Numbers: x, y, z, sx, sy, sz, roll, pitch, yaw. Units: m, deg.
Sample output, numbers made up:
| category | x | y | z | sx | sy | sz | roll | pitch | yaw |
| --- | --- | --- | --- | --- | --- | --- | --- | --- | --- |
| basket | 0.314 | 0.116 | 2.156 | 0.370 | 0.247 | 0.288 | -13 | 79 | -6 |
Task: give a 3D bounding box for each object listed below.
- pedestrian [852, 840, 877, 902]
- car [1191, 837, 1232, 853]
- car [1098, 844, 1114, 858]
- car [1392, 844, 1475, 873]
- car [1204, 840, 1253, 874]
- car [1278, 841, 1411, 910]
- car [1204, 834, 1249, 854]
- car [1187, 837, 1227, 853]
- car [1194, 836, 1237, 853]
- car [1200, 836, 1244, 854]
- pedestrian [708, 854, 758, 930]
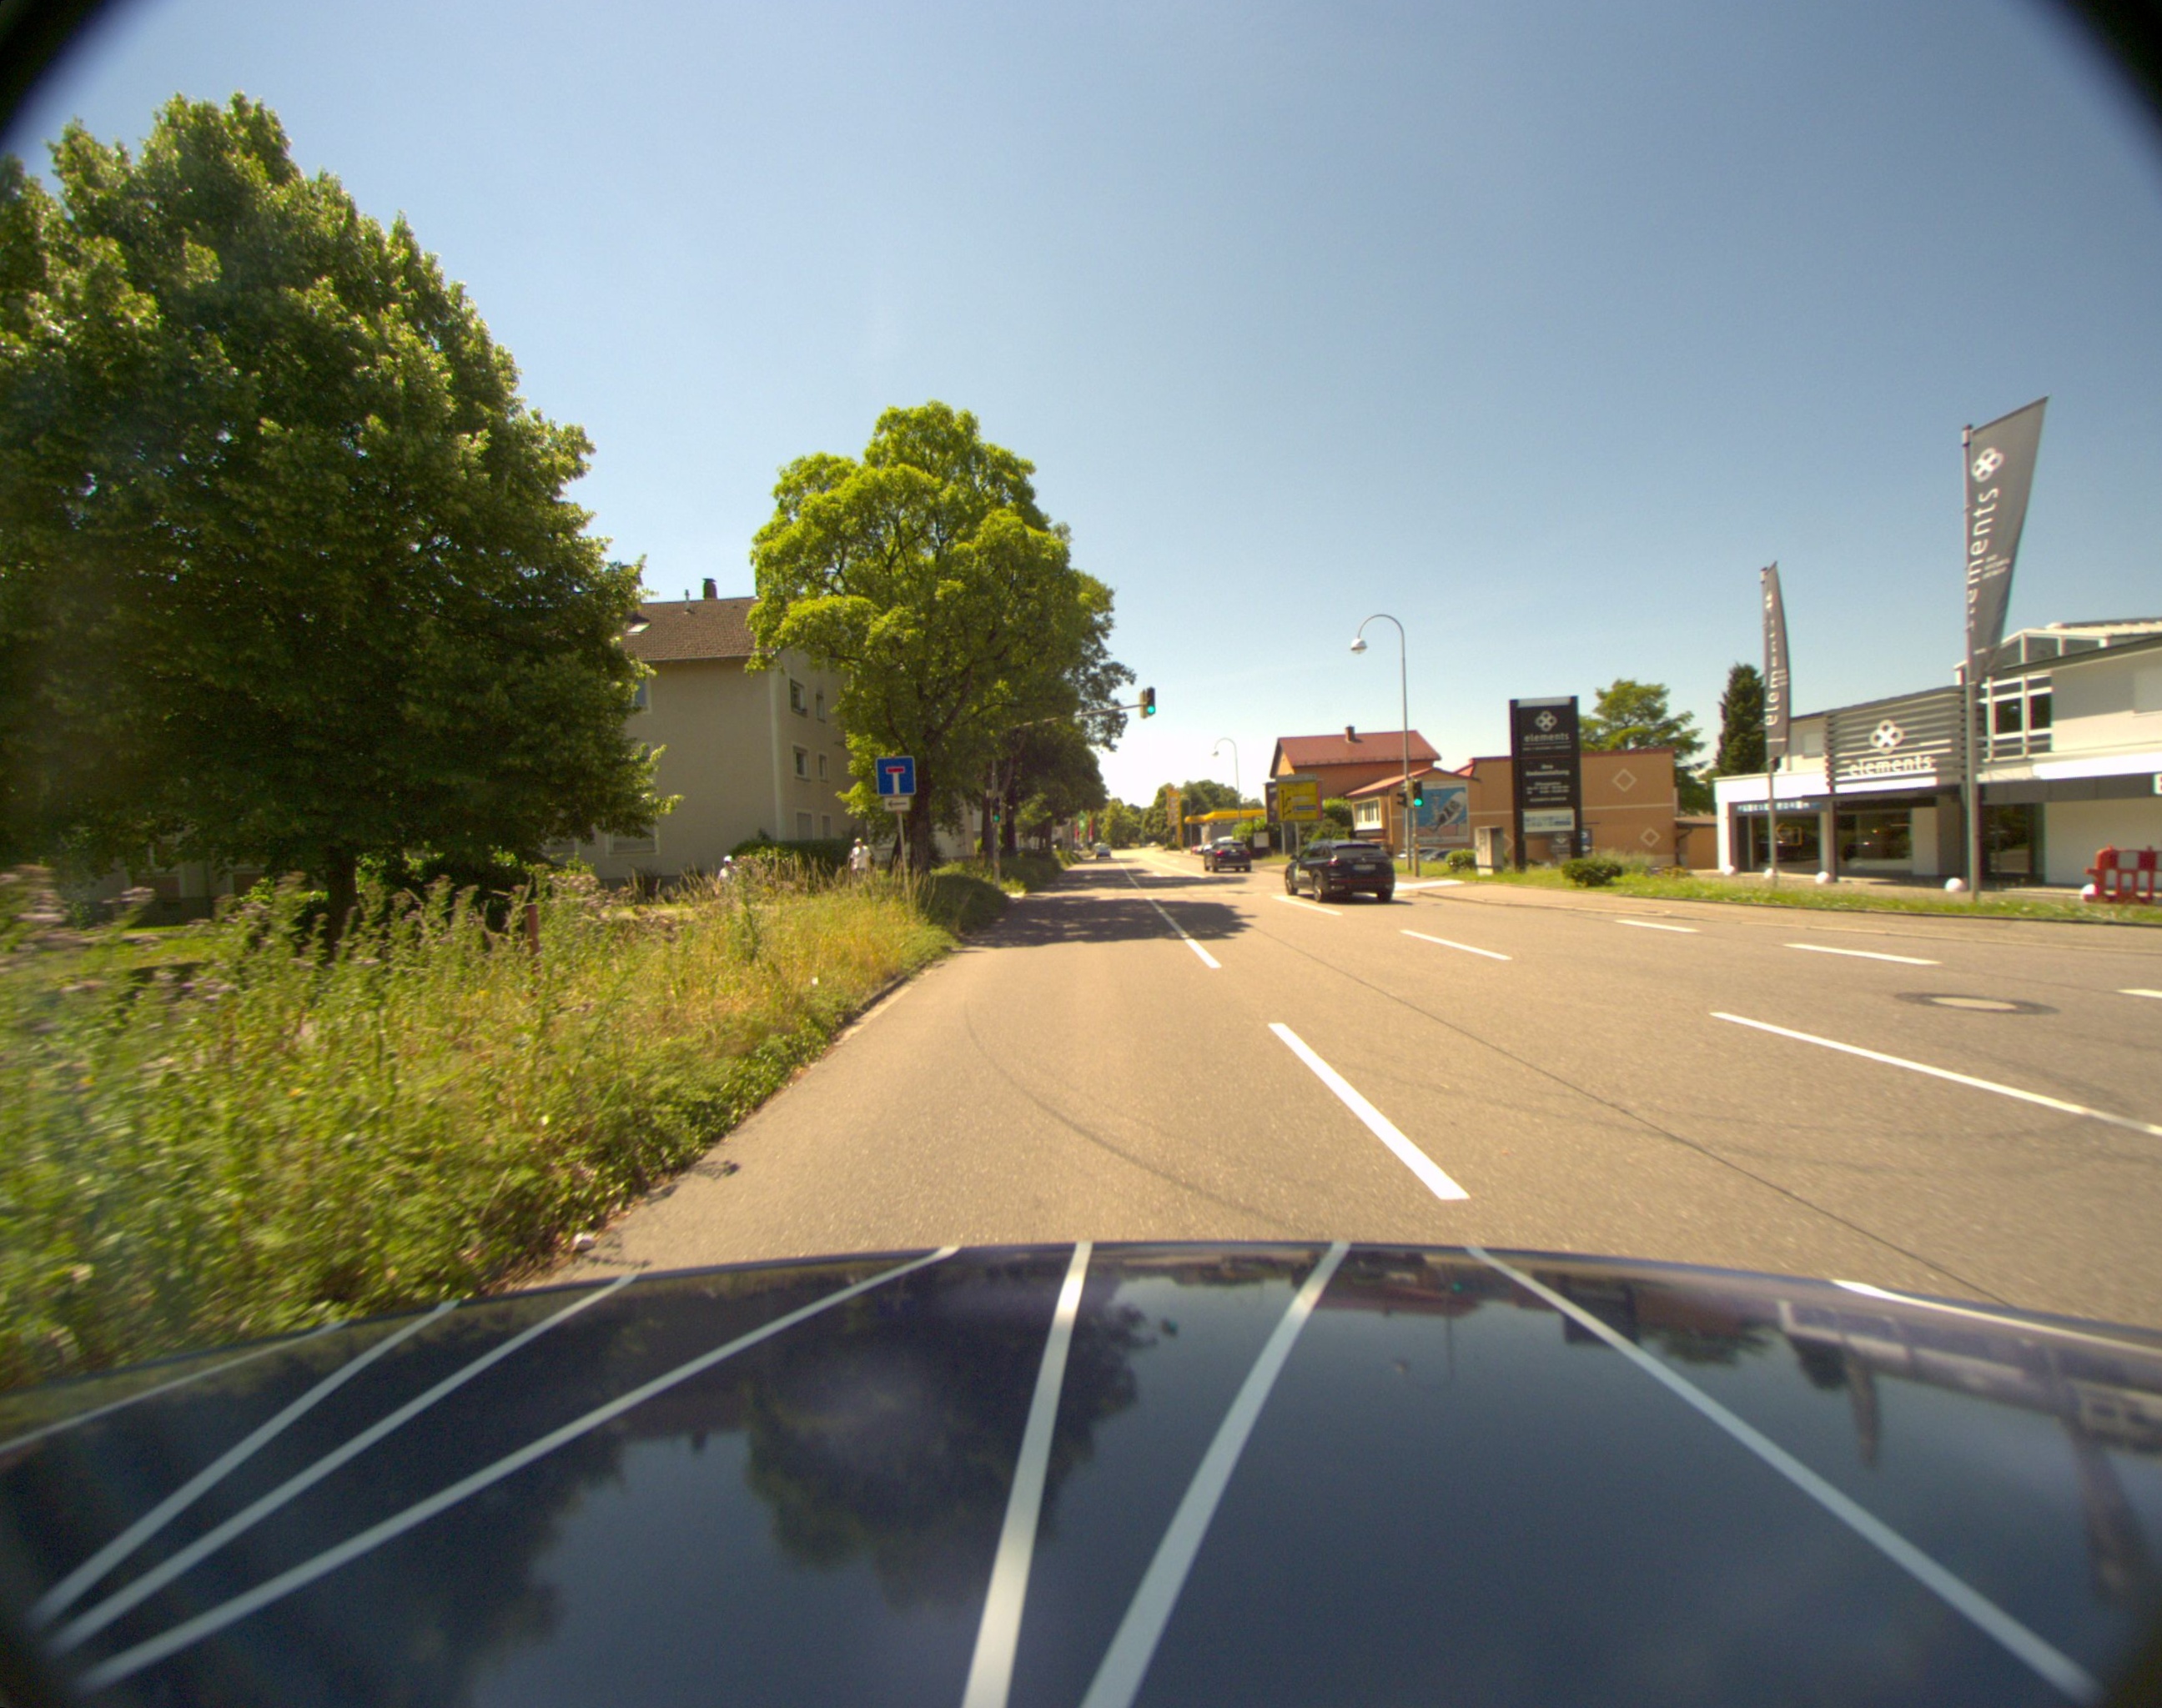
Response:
| category | x | y | z | sx | sy | sz | roll | pitch | yaw |
| --- | --- | --- | --- | --- | --- | --- | --- | --- | --- |
| pedestrian | -6.710 | 0.508 | 23.546 | 0.674 | 1.863 | 0.901 | -2 | 2 | -17 |
| car | 15.305 | -1.063 | 89.204 | 4.401 | 1.750 | 1.874 | -2 | 1 | -3 |
| car | 2.882 | -0.362 | 87.364 | 1.771 | 1.521 | 4.130 | -2 | 1 | 2 |
| car | 21.093 | 0.271 | 45.627 | 4.223 | 1.599 | 1.772 | -1 | 1 | 10 |
| car | 7.308 | 0.086 | 37.973 | 1.930 | 1.546 | 4.303 | -1 | 1 | 5 |
| car | 6.449 | 0.451 | 19.110 | 1.874 | 1.498 | 4.051 | -2 | 1 | -1 |
| car | 14.937 | -1.047 | 78.028 | 4.191 | 1.858 | 1.874 | -2 | 1 | -3 |
| car | 15.219 | -1.097 | 91.655 | 4.401 | 1.750 | 1.874 | -2 | 1 | -3 |
| car | 14.935 | -1.055 | 84.669 | 4.401 | 1.750 | 1.874 | -2 | 1 | -3 |
| car | 14.878 | -0.940 | 80.225 | 4.246 | 1.750 | 1.874 | -2 | 1 | -3 |
| pedestrian | -7.816 | 0.836 | 17.109 | 0.720 | 1.624 | 0.851 | -2 | 1 | -6 |
